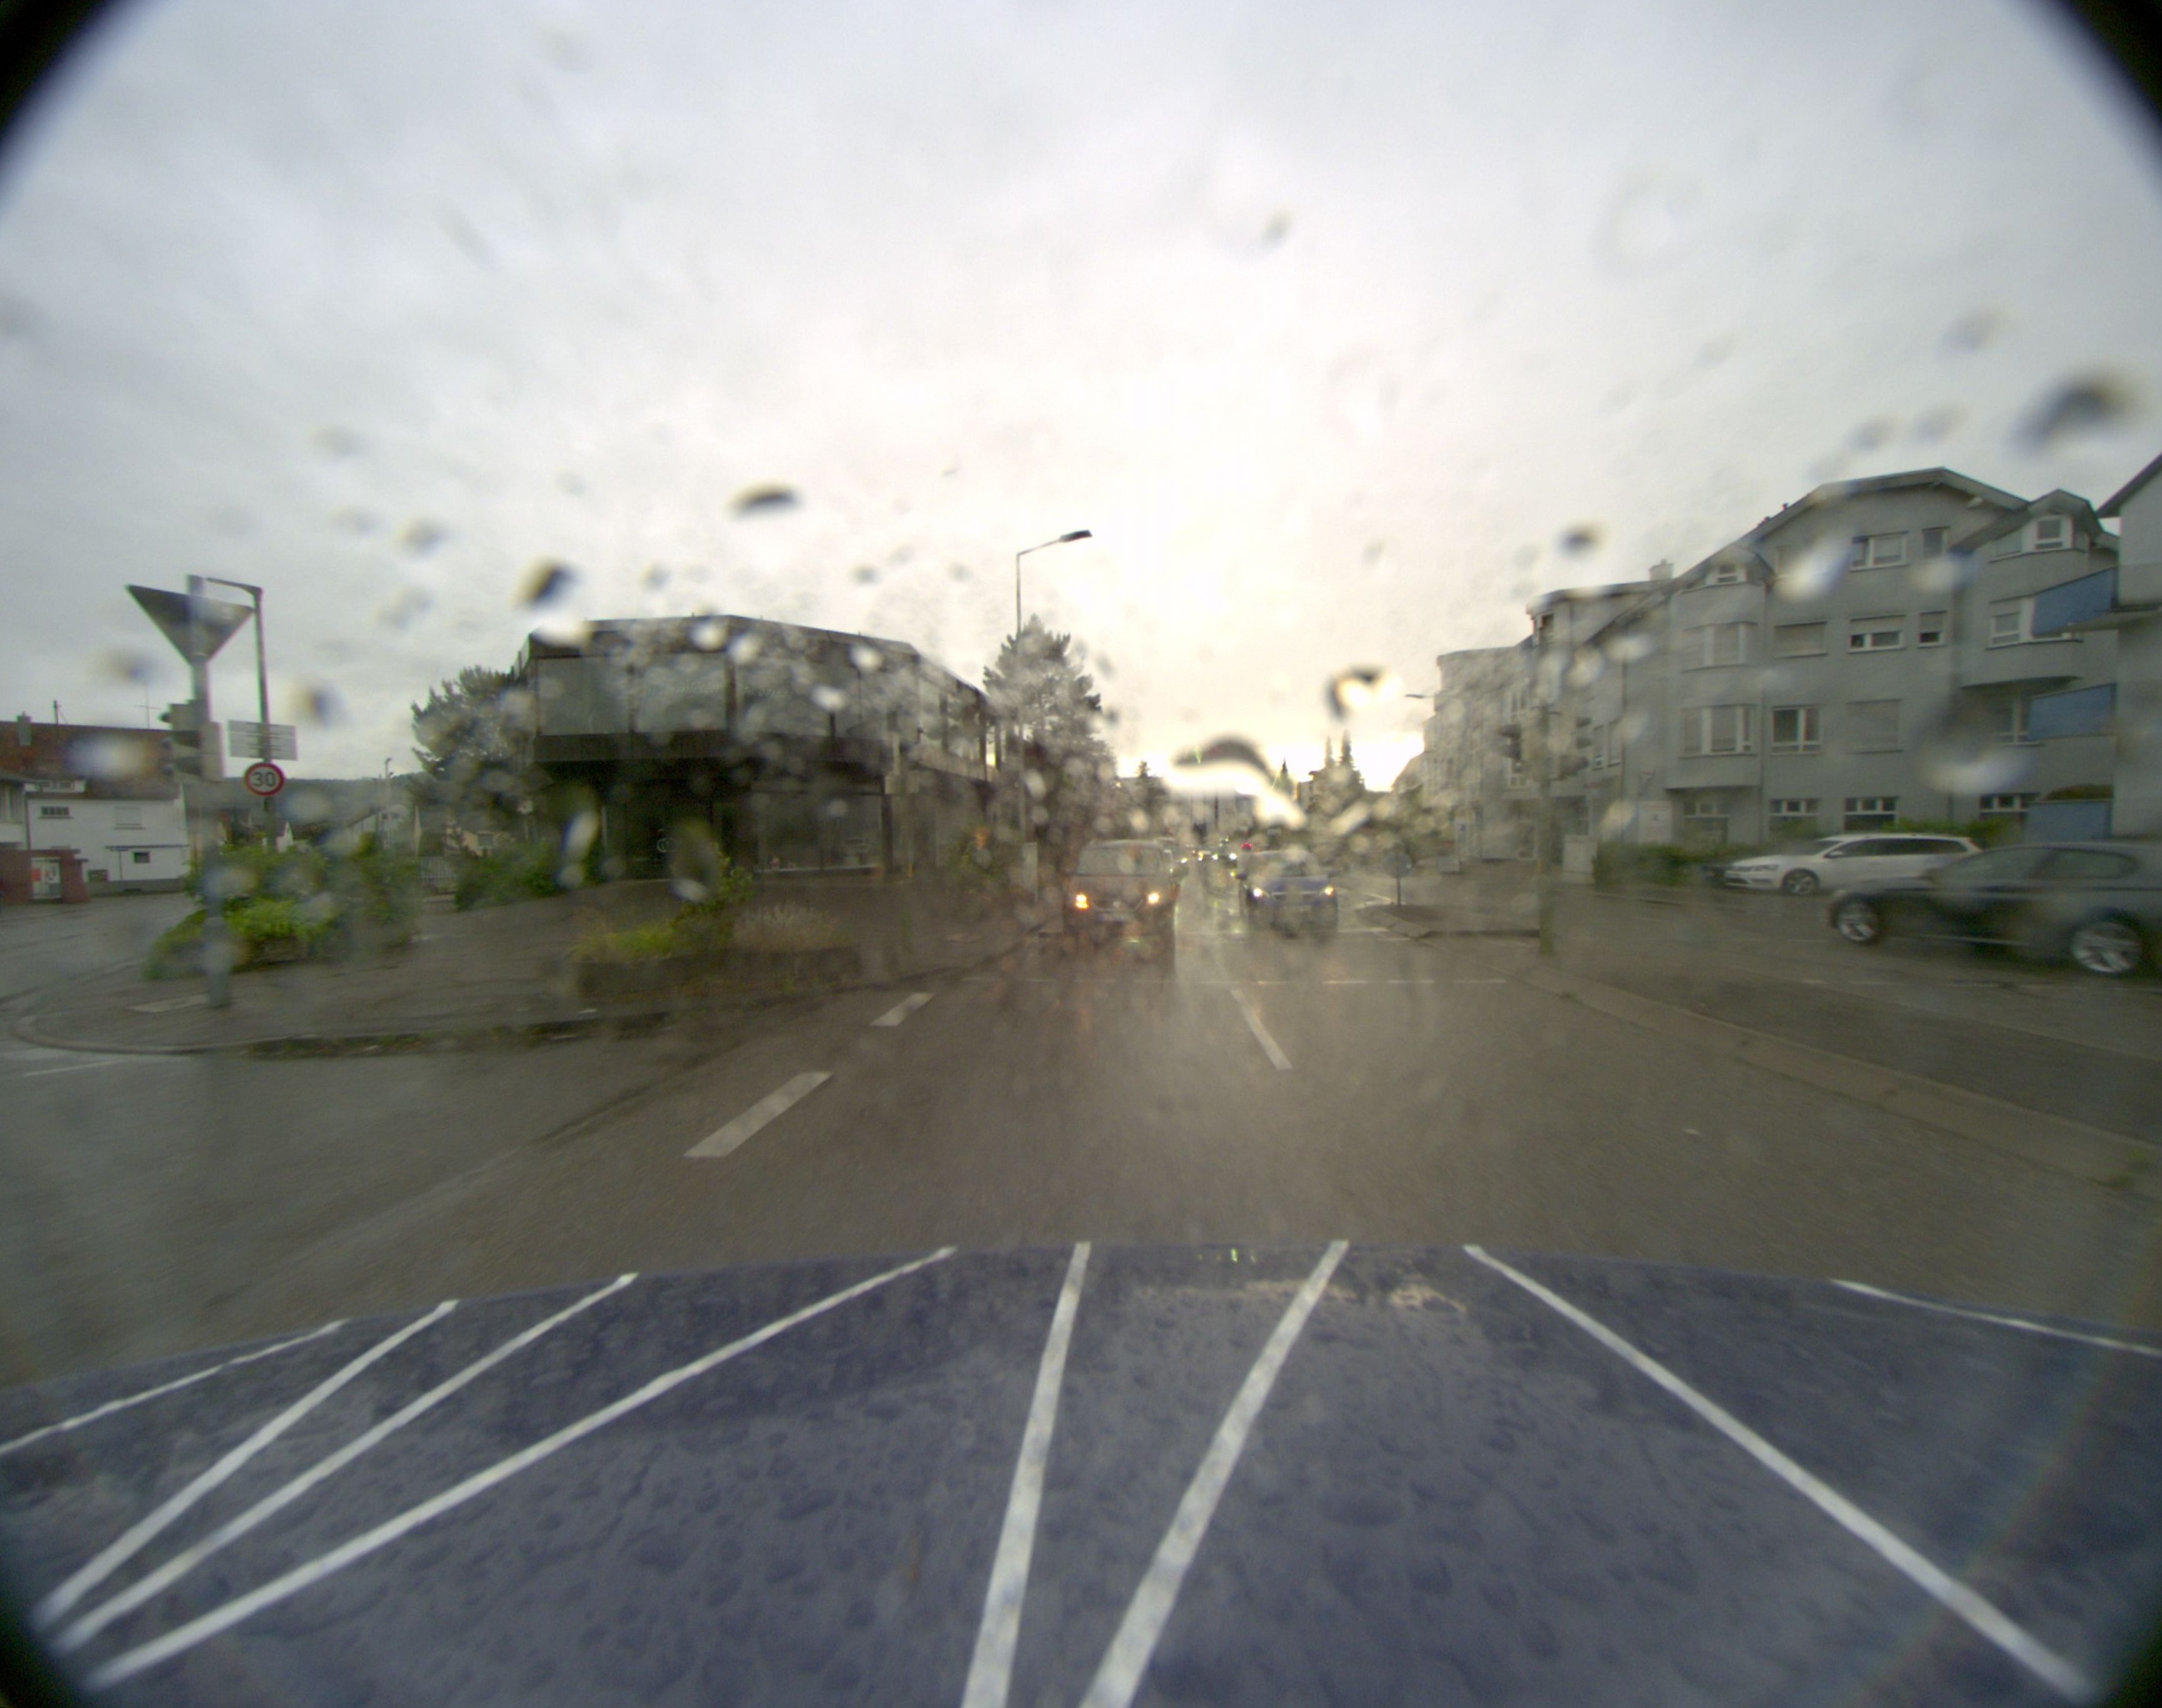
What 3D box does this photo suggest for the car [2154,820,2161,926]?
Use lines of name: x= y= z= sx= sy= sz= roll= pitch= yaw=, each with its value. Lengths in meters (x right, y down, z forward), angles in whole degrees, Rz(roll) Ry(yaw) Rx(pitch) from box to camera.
car: x=19.509 y=0.287 z=11.219 sx=3.992 sy=1.740 sz=1.831 roll=-1 pitch=1 yaw=15

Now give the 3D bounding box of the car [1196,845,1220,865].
car: x=12.263 y=0.078 z=73.682 sx=1.997 sy=1.849 sz=4.001 roll=1 pitch=1 yaw=5

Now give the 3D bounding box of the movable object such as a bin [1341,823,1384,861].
movable object such as a bin: x=21.796 y=-0.945 z=58.844 sx=2.921 sy=2.825 sz=2.200 roll=-1 pitch=1 yaw=24

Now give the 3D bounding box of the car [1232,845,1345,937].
car: x=3.936 y=0.629 z=14.868 sx=1.650 sy=1.547 sz=3.352 roll=-1 pitch=1 yaw=7

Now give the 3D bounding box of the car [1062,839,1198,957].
car: x=0.994 y=0.628 z=13.677 sx=1.997 sy=1.739 sz=4.650 roll=-1 pitch=1 yaw=7

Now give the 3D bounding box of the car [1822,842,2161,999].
car: x=11.384 y=0.618 z=8.765 sx=1.792 sy=1.464 sz=4.164 roll=-1 pitch=1 yaw=4

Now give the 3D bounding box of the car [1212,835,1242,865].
car: x=10.525 y=-0.322 z=54.472 sx=1.997 sy=2.002 sz=4.003 roll=-1 pitch=1 yaw=12

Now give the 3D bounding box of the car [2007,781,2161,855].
car: x=30.031 y=-1.009 z=21.778 sx=3.989 sy=2.002 sz=2.004 roll=0 pitch=1 yaw=34

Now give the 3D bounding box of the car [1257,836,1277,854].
car: x=21.348 y=-1.030 z=87.343 sx=1.997 sy=2.002 sz=4.003 roll=-1 pitch=1 yaw=11

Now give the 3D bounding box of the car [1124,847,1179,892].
car: x=2.613 y=0.497 z=27.908 sx=1.829 sy=1.431 sz=4.346 roll=-2 pitch=1 yaw=6

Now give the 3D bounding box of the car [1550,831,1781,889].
car: x=18.418 y=0.194 z=24.262 sx=5.471 sy=1.674 sz=2.149 roll=-1 pitch=1 yaw=12

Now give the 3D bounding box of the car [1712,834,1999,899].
car: x=18.864 y=0.298 z=18.796 sx=4.617 sy=1.488 sz=1.931 roll=-1 pitch=1 yaw=15

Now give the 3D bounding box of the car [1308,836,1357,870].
car: x=14.659 y=-0.101 z=44.539 sx=2.100 sy=1.822 sz=4.736 roll=-1 pitch=1 yaw=11

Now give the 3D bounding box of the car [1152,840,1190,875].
car: x=5.015 y=0.147 z=42.795 sx=1.997 sy=1.849 sz=4.001 roll=1 pitch=1 yaw=5
